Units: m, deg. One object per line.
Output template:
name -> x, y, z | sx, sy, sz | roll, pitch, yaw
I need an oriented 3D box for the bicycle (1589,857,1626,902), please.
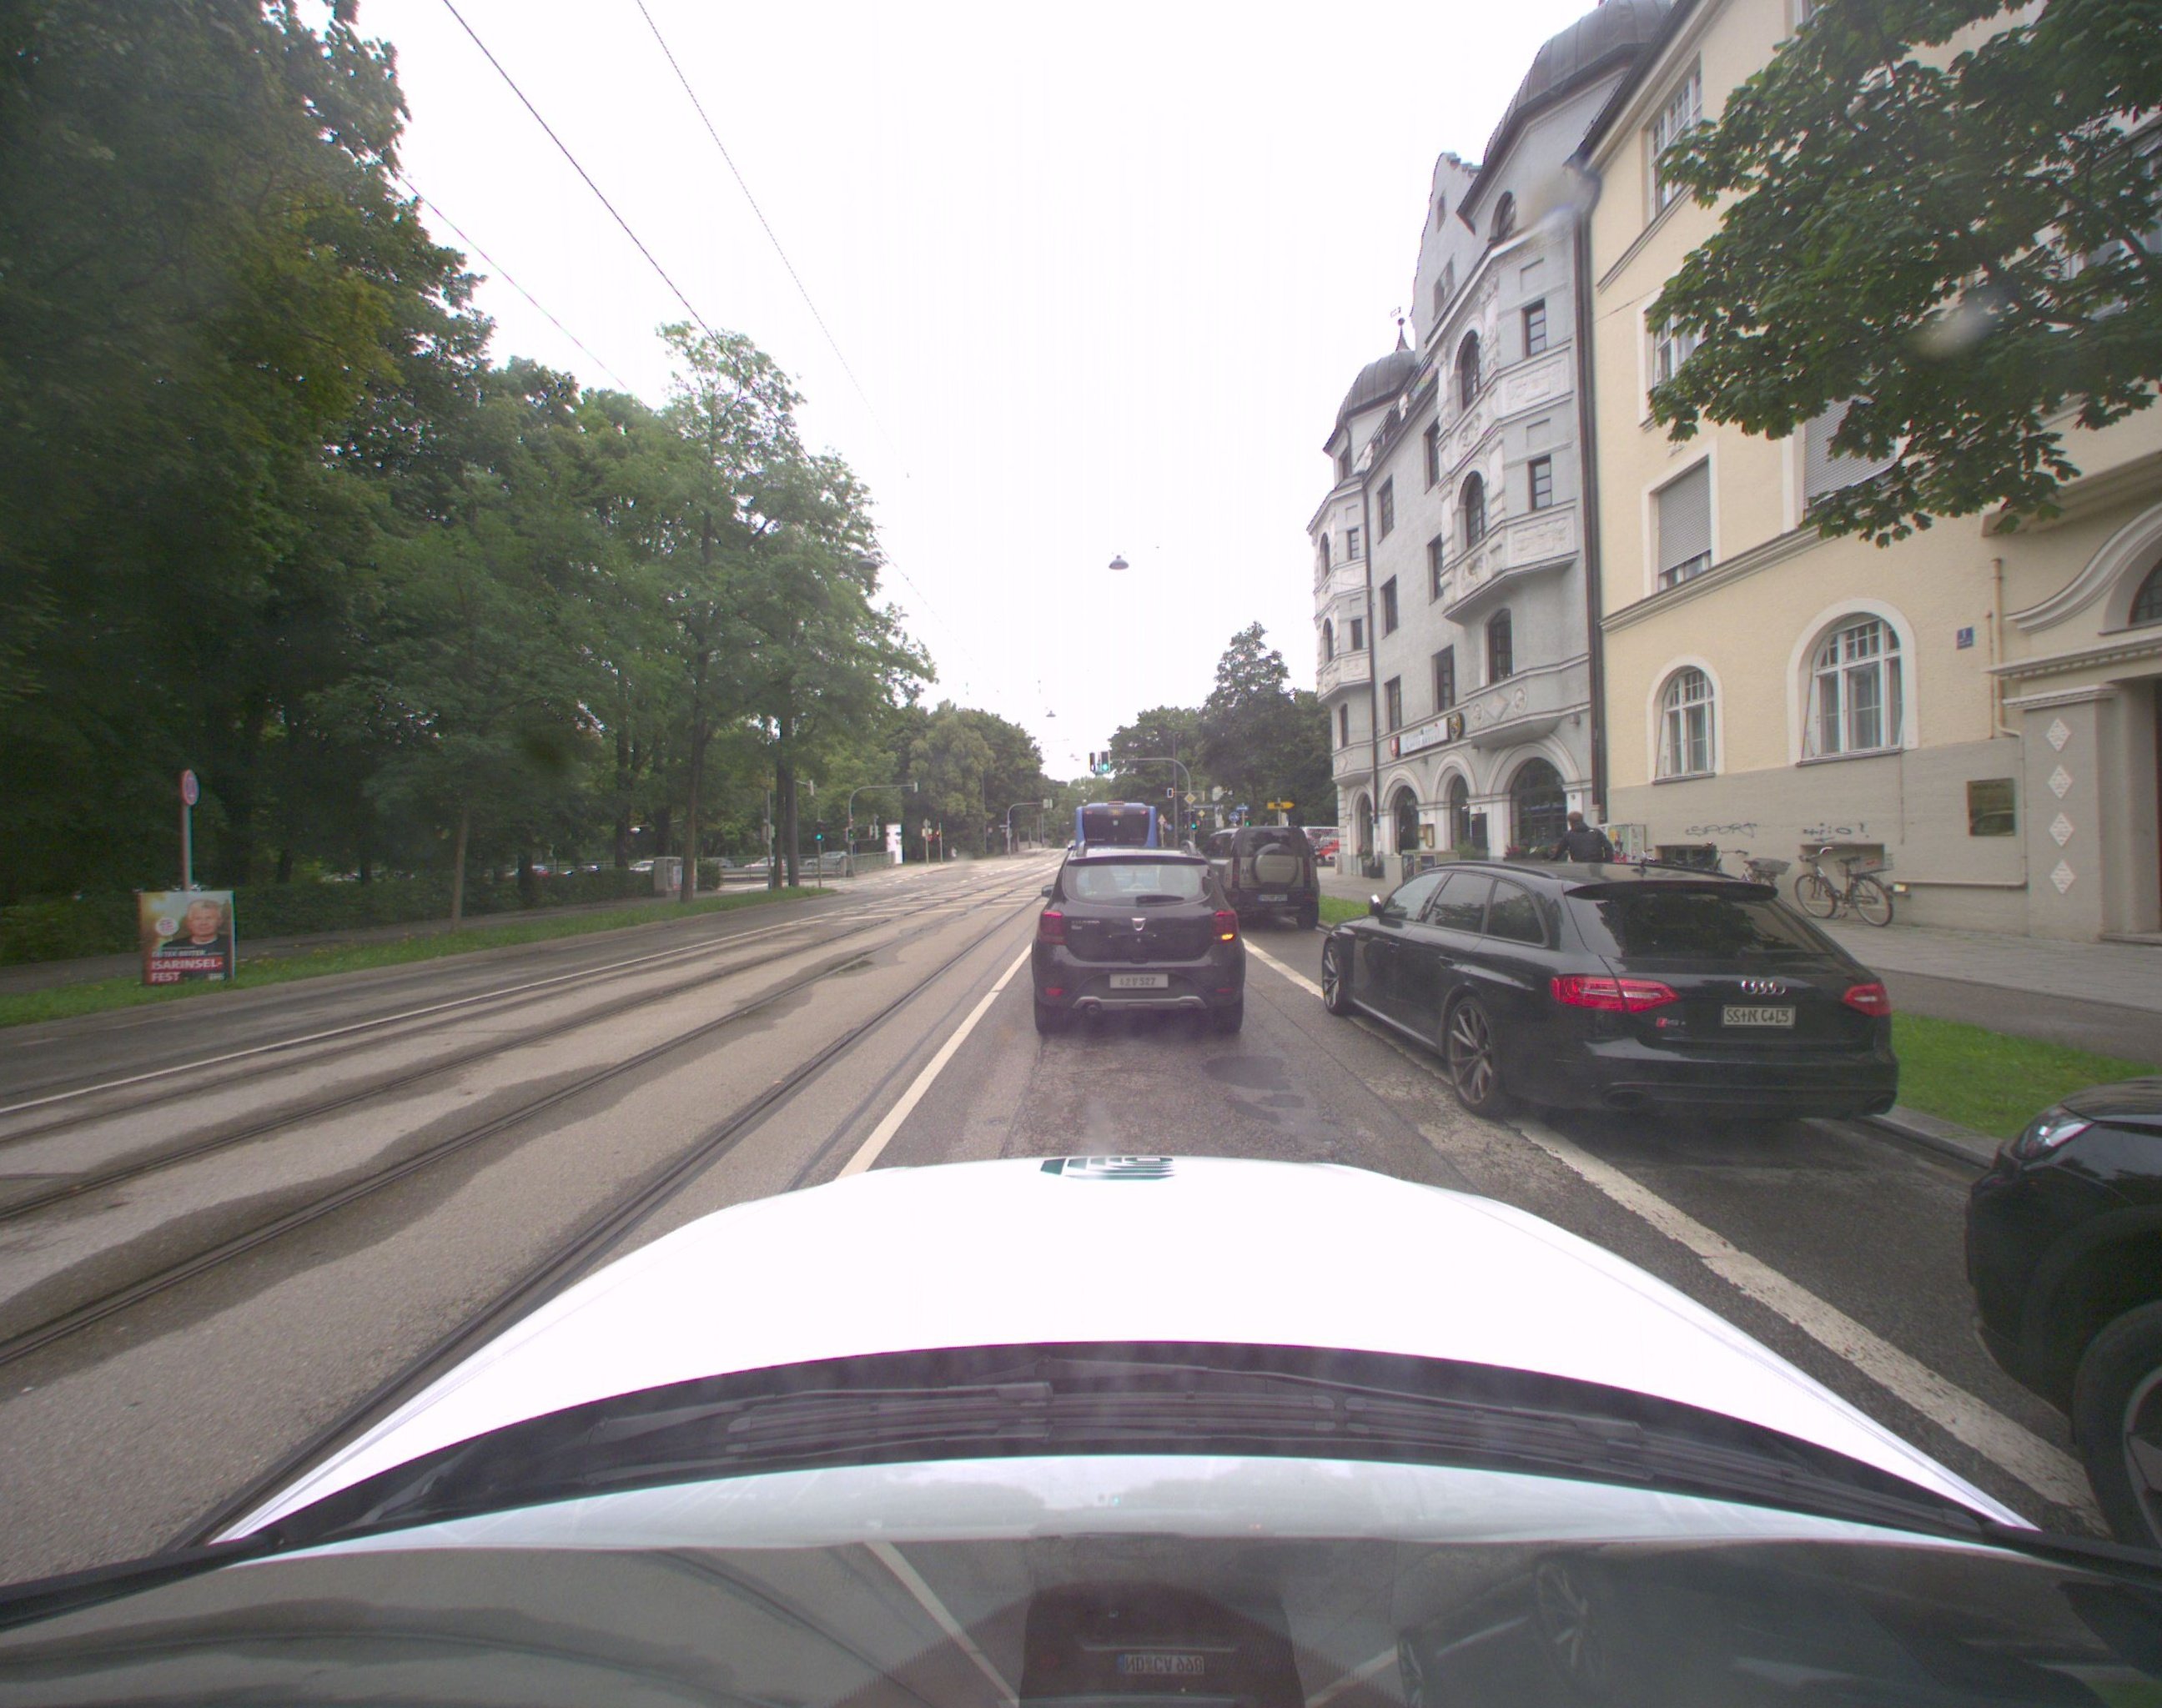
bicycle -> 11.288, 0.542, 17.479 | 0.258, 0.930, 0.886 | 0, 0, 3

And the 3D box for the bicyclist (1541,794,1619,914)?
bicyclist -> 7.408, -0.003, 12.123 | 0.722, 1.729, 0.726 | 0, 0, 1

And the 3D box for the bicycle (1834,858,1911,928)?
bicycle -> 10.993, 0.522, 11.333 | 0.220, 0.930, 0.886 | 0, 0, 1

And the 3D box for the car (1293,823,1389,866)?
car -> 16.260, -0.588, 51.106 | 5.281, 2.612, 2.229 | 0, 0, -2

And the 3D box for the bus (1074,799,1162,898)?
bus -> 1.140, -0.165, 28.245 | 2.670, 2.997, 6.960 | 0, 0, 0

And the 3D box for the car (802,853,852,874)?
car -> -23.073, 0.853, 74.042 | 4.015, 1.887, 1.488 | 0, 0, -5

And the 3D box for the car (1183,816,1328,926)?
car -> 3.338, 0.298, 16.553 | 1.908, 1.905, 4.807 | 0, 0, 0

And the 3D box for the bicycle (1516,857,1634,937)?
bicycle -> 7.406, 0.605, 12.323 | 0.577, 1.078, 1.912 | -4, 0, 1

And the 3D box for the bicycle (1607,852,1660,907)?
bicycle -> 10.817, 0.488, 15.962 | 0.241, 1.039, 1.224 | 0, 0, 2

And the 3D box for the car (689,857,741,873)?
car -> -32.973, 1.014, 73.386 | 3.915, 1.404, 1.719 | 0, 0, -3

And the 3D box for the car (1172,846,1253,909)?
car -> 3.549, 0.594, 22.710 | 1.708, 1.591, 4.329 | 0, 0, 2

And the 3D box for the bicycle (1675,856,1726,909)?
bicycle -> 11.104, 0.499, 14.614 | 0.271, 0.930, 0.886 | 0, 0, 3

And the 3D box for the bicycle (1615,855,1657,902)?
bicycle -> 11.259, 0.489, 16.542 | 0.289, 0.930, 0.886 | 0, 0, 3

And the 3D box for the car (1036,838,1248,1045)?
car -> 0.502, 0.658, 7.907 | 1.595, 1.556, 3.526 | 0, 0, 1

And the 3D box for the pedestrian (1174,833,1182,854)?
pedestrian -> 10.196, -1.127, 85.734 | 0.760, 2.116, 0.854 | -2, 0, 2

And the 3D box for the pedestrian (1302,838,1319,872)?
pedestrian -> 12.023, 0.048, 42.638 | 0.702, 1.732, 0.843 | 0, 0, 2

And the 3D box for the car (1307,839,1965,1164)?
car -> 3.079, 0.648, 5.884 | 1.709, 1.426, 4.603 | 0, 0, 1

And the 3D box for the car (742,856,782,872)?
car -> -28.749, 0.878, 73.542 | 3.103, 1.452, 1.249 | 0, 0, -4

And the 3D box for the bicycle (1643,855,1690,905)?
bicycle -> 11.195, 0.476, 15.582 | 0.304, 0.930, 0.886 | 0, 0, 4

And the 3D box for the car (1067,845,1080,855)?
car -> -1.035, -0.611, 116.002 | 1.782, 1.370, 3.400 | 0, 0, 0

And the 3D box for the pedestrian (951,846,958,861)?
pedestrian -> -12.656, -0.059, 81.305 | 0.529, 1.501, 0.589 | 0, 0, 6

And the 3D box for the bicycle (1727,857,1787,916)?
bicycle -> 11.003, 0.508, 13.278 | 0.284, 0.930, 0.886 | 0, 0, 3

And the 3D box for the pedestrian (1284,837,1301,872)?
pedestrian -> 11.230, 0.041, 43.194 | 0.702, 1.816, 0.870 | 0, 0, 2

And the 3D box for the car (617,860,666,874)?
car -> -39.448, 1.156, 73.122 | 3.720, 1.185, 1.249 | 0, 0, -4
